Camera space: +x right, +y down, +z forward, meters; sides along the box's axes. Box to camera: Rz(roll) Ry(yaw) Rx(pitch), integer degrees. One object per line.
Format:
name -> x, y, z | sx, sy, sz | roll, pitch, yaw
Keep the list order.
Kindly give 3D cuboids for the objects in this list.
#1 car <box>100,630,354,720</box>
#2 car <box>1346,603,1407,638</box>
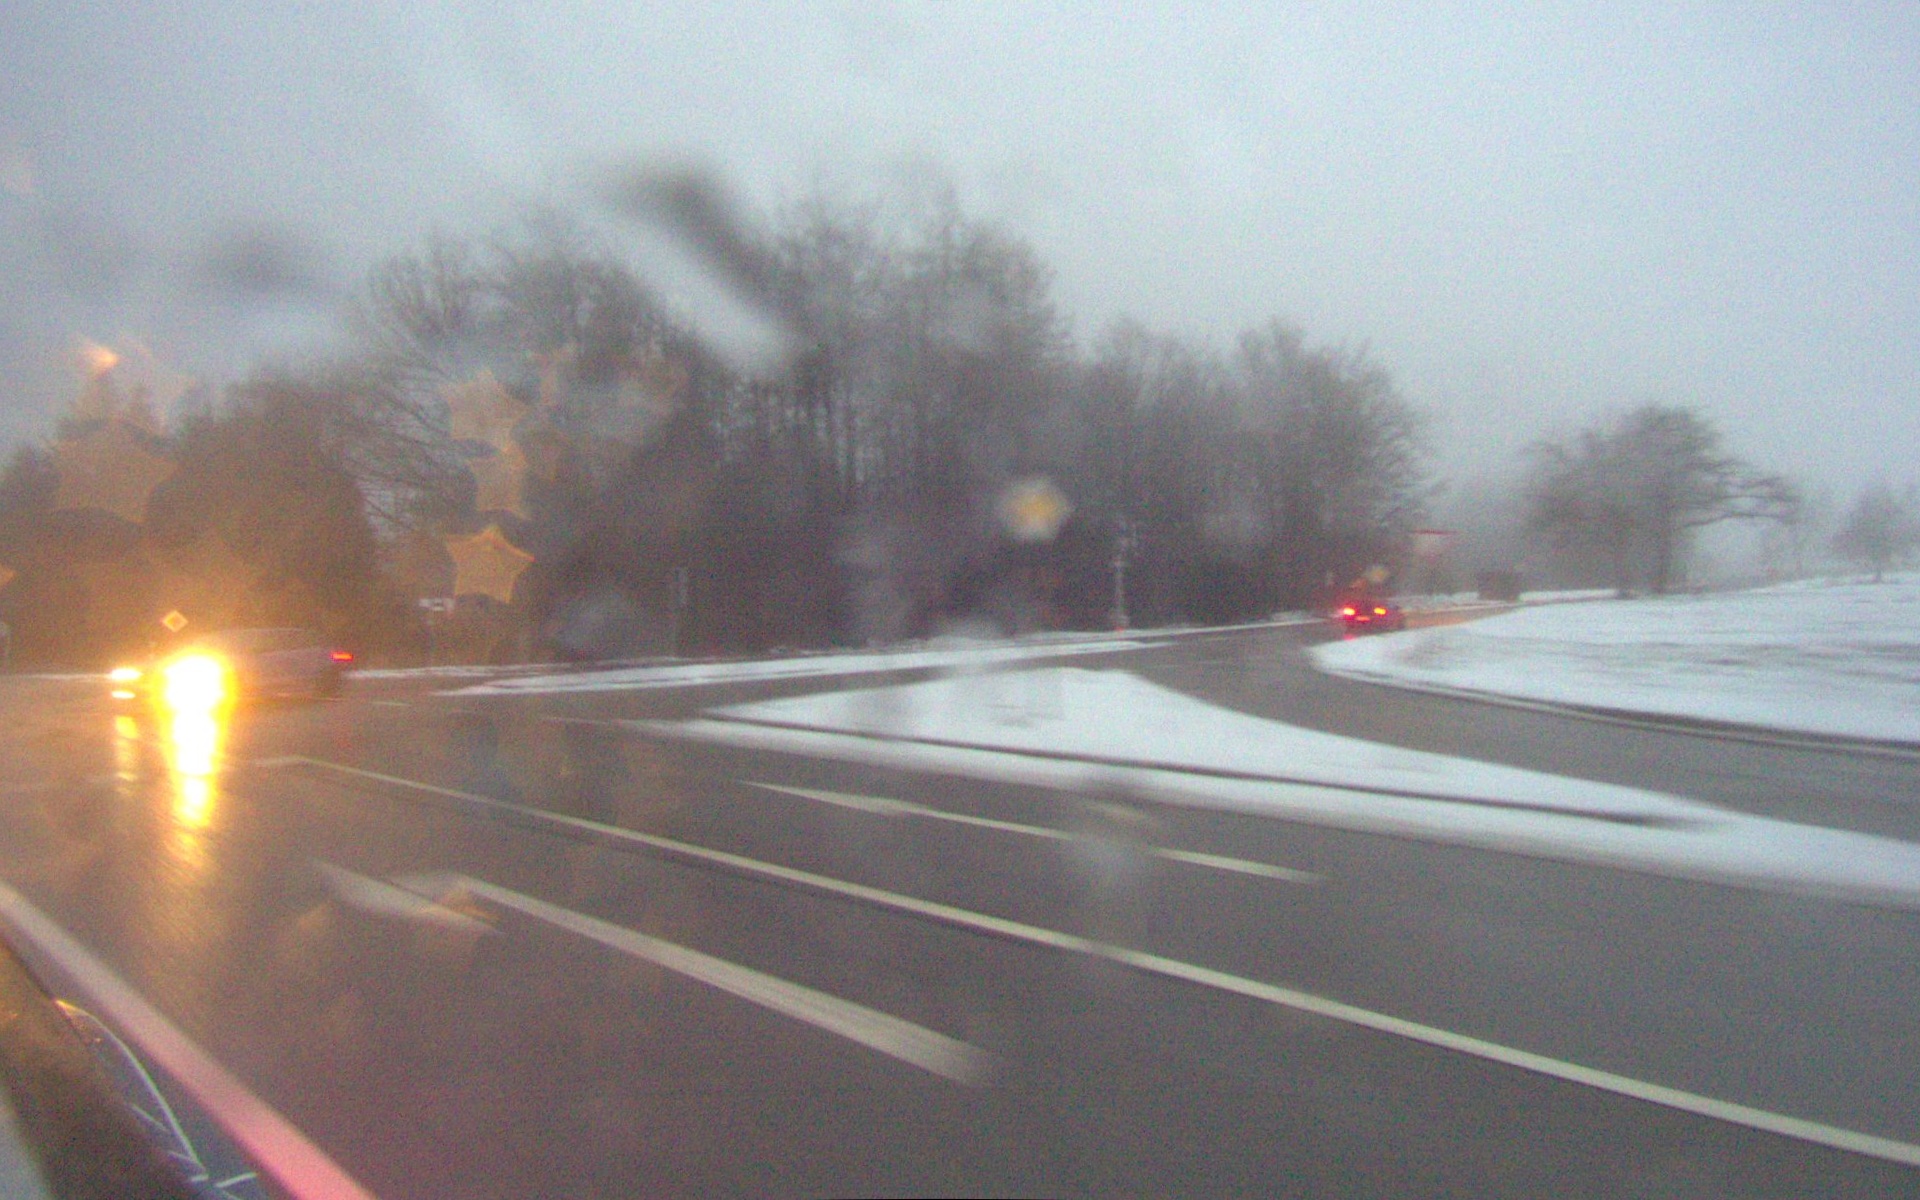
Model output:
car -> -13.365, 1.312, 18.731 | 1.707, 1.445, 3.665 | -2, -2, 10
car -> 18.483, 0.886, 44.834 | 1.575, 1.463, 3.369 | -3, -2, 38
